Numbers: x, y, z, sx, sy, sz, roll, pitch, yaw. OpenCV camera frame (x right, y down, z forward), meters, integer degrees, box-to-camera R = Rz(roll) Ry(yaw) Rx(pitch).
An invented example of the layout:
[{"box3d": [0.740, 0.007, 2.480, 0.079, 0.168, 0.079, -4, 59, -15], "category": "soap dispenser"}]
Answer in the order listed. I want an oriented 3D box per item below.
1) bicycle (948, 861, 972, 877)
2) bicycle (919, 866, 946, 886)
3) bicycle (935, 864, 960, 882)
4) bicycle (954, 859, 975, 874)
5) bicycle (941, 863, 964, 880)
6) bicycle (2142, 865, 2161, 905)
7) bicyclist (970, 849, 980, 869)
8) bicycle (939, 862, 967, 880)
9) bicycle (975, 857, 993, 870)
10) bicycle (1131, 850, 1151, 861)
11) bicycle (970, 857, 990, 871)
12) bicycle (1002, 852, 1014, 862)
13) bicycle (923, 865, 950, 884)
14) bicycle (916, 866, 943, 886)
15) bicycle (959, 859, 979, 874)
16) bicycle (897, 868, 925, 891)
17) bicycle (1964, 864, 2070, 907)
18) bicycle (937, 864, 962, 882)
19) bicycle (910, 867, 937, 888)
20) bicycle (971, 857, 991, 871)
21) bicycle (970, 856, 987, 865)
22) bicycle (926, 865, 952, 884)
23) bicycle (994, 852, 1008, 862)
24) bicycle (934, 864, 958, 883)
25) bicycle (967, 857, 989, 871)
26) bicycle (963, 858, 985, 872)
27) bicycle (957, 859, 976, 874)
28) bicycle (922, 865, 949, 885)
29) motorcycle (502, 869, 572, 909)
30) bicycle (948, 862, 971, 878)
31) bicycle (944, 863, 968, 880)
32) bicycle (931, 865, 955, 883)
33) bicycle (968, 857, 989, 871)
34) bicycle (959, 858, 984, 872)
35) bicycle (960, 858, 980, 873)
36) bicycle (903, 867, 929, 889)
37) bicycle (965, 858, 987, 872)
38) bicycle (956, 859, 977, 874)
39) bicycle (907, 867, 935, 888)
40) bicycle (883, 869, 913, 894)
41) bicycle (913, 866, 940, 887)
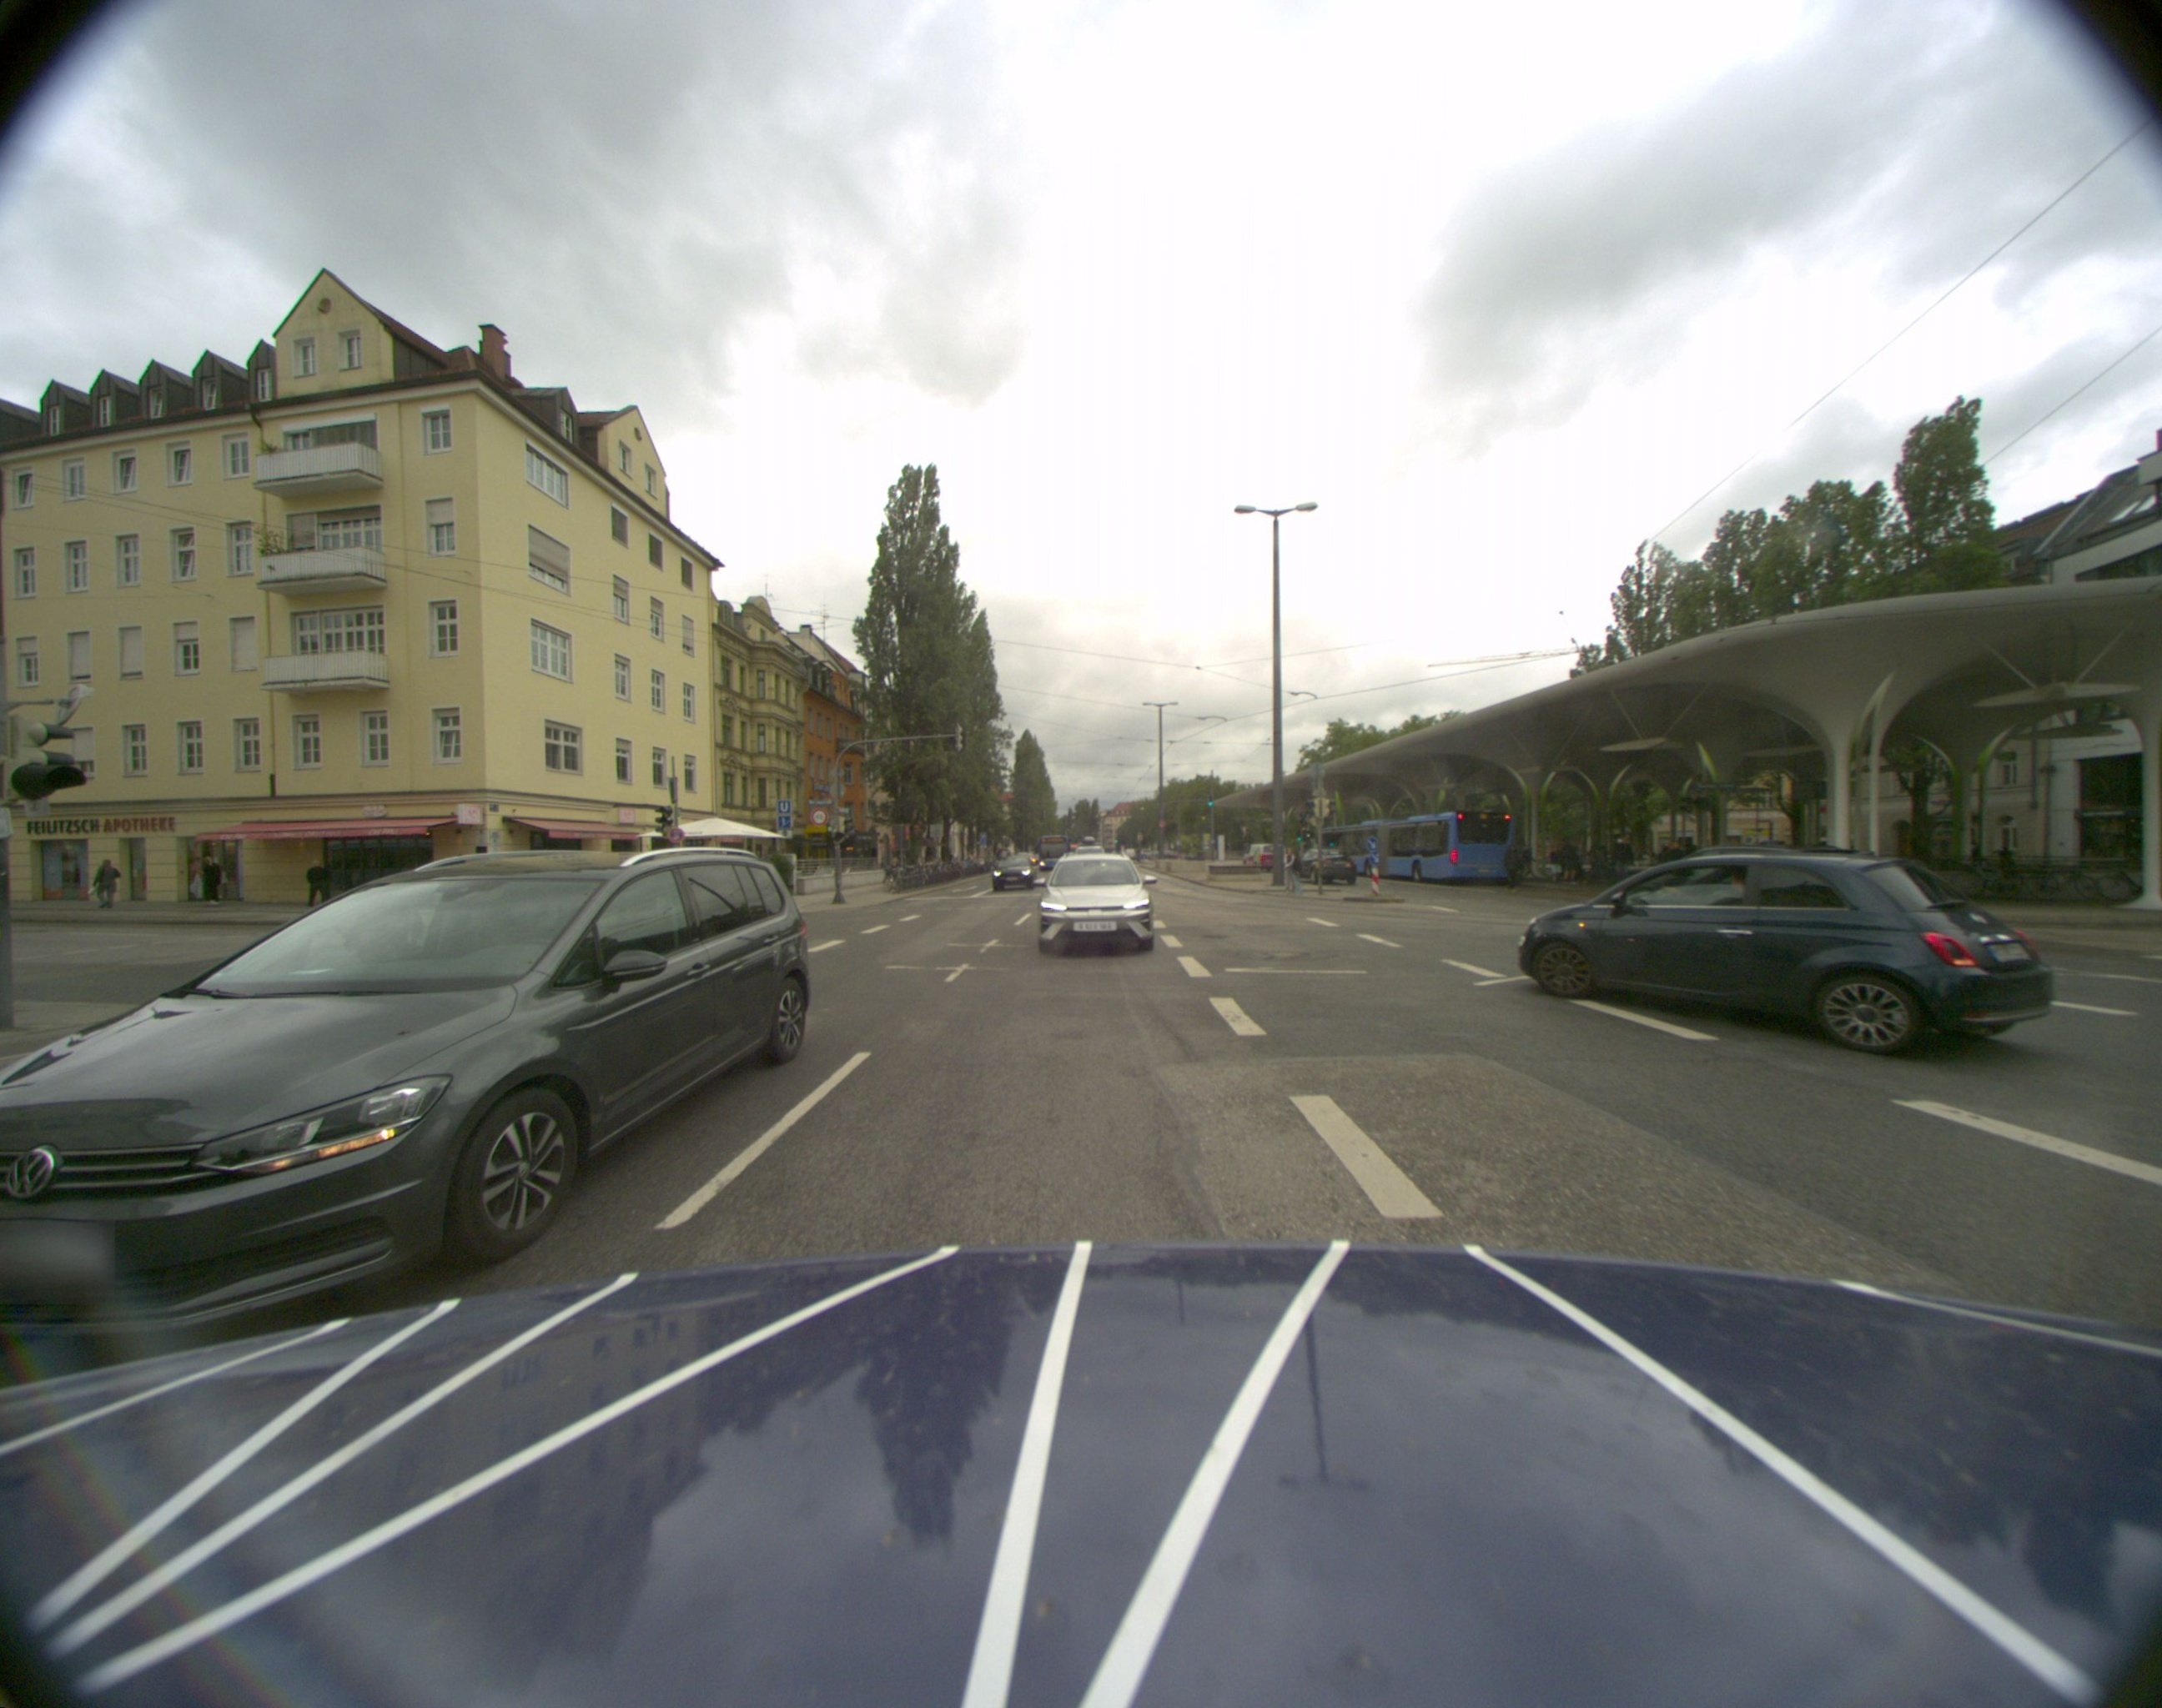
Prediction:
[{"box3d": [-7.747, 0.962, 48.785, 1.837, 0.990, 0.326, -2, -1, 37], "category": "bicycle"}, {"box3d": [-7.810, 1.133, 39.932, 1.836, 0.990, 0.349, 1, 1, 40], "category": "bicycle"}, {"box3d": [-7.798, 1.111, 44.183, 1.836, 0.990, 0.349, 1, 1, 41], "category": "bicycle"}, {"box3d": [-7.785, 0.845, 50.670, 1.837, 0.990, 0.326, -2, -1, 43], "category": "bicycle"}, {"box3d": [-7.968, 1.103, 47.080, 1.837, 0.990, 0.326, -2, -1, 41], "category": "bicycle"}, {"box3d": [30.786, 0.887, 20.822, 0.654, 1.112, 2.184, 0, 0, 11], "category": "bicycle"}, {"box3d": [-8.909, 0.414, 63.995, 0.681, 1.594, 0.939, -1, 1, 1], "category": "bicyclist"}, {"box3d": [-7.832, 1.032, 46.324, 1.837, 1.106, 0.468, 0, 0, 33], "category": "bicycle"}, {"box3d": [-7.627, 0.757, 59.778, 0.376, 0.990, 1.837, -1, -1, -44], "category": "bicycle"}, {"box3d": [6.822, 0.134, 86.633, 2.234, 1.144, 0.505, -2, 2, -26], "category": "bicycle"}, {"box3d": [-7.680, 0.771, 57.725, 1.837, 0.990, 0.376, -2, -1, 45], "category": "bicycle"}, {"box3d": [-8.060, 0.345, 83.654, 0.360, 1.096, 1.740, -1, 1, -44], "category": "bicycle"}, {"box3d": [-7.876, 1.128, 41.414, 1.836, 0.990, 0.349, 1, 1, 40], "category": "bicycle"}, {"box3d": [-7.840, 1.138, 39.267, 1.836, 0.990, 0.349, 1, 1, 40], "category": "bicycle"}, {"box3d": [-7.642, 0.833, 51.763, 0.326, 0.990, 1.837, -1, -1, -42], "category": "bicycle"}, {"box3d": [-7.870, 1.162, 35.123, 0.349, 0.990, 1.836, -1, 1, -45], "category": "bicycle"}, {"box3d": [26.683, 0.872, 21.723, 0.642, 1.118, 2.167, 0, 1, 10], "category": "bicycle"}, {"box3d": [-7.766, 1.106, 44.847, 1.836, 0.990, 0.349, 1, 1, 41], "category": "bicycle"}, {"box3d": [-7.852, 1.146, 37.915, 1.836, 0.990, 0.349, 1, 1, 44], "category": "bicycle"}, {"box3d": [-7.667, 0.767, 58.348, 1.837, 0.990, 0.376, -2, -1, 39], "category": "bicycle"}, {"box3d": [-11.450, 0.739, 85.179, 1.837, 0.912, 0.392, -2, 1, 2], "category": "bicycle"}, {"box3d": [-7.870, 1.124, 42.069, 1.836, 0.990, 0.349, 1, 1, 40], "category": "bicycle"}, {"box3d": [-8.739, 0.344, 82.956, 1.740, 1.096, 0.360, 0, 1, 36], "category": "bicycle"}, {"box3d": [-7.738, 1.112, 43.492, 1.836, 0.990, 0.349, 1, 1, 45], "category": "bicycle"}, {"box3d": [-7.730, 0.777, 56.988, 1.837, 0.990, 0.376, -2, -1, 38], "category": "bicycle"}, {"box3d": [-7.642, 0.789, 54.183, 1.837, 0.990, 0.326, -2, -1, 38], "category": "bicycle"}, {"box3d": [-7.919, 0.842, 52.437, 0.326, 0.990, 1.837, -1, -1, -42], "category": "bicycle"}, {"box3d": [-7.790, 1.128, 40.605, 1.836, 0.990, 0.349, 1, 1, 40], "category": "bicycle"}, {"box3d": [-17.531, 1.123, 24.541, 1.769, 1.193, 0.541, -1, 1, -29], "category": "motorcycle"}, {"box3d": [-7.926, 1.021, 49.455, 1.837, 0.990, 0.326, -2, -1, 37], "category": "bicycle"}, {"box3d": [-7.846, 1.095, 47.655, 1.837, 0.990, 0.326, -2, -1, 41], "category": "bicycle"}, {"box3d": [-7.774, 1.118, 42.775, 1.836, 0.990, 0.349, 1, 1, 45], "category": "bicycle"}, {"box3d": [-7.628, 0.776, 56.350, 1.837, 0.990, 0.376, -2, -1, 38], "category": "bicycle"}, {"box3d": [-7.924, 0.792, 54.896, 1.837, 0.990, 0.376, -2, -1, 25], "category": "bicycle"}, {"box3d": [-7.712, 0.830, 52.790, 1.837, 0.990, 0.326, -2, -1, 43], "category": "bicycle"}, {"box3d": [-7.969, 1.158, 36.631, 0.349, 0.990, 1.836, -1, 1, -43], "category": "bicycle"}, {"box3d": [-7.694, 0.783, 55.603, 1.837, 0.990, 0.376, -2, -1, 38], "category": "bicycle"}, {"box3d": [-7.758, 0.840, 51.322, 1.837, 0.990, 0.326, -2, -1, 43], "category": "bicycle"}, {"box3d": [-7.849, 1.150, 37.198, 1.836, 0.990, 0.349, 1, 1, 44], "category": "bicycle"}, {"box3d": [-7.930, 1.174, 32.894, 0.349, 0.990, 1.836, -1, 1, -45], "category": "bicycle"}, {"box3d": [-7.843, 1.142, 38.580, 1.836, 0.990, 0.349, 1, 1, 44], "category": "bicycle"}]
